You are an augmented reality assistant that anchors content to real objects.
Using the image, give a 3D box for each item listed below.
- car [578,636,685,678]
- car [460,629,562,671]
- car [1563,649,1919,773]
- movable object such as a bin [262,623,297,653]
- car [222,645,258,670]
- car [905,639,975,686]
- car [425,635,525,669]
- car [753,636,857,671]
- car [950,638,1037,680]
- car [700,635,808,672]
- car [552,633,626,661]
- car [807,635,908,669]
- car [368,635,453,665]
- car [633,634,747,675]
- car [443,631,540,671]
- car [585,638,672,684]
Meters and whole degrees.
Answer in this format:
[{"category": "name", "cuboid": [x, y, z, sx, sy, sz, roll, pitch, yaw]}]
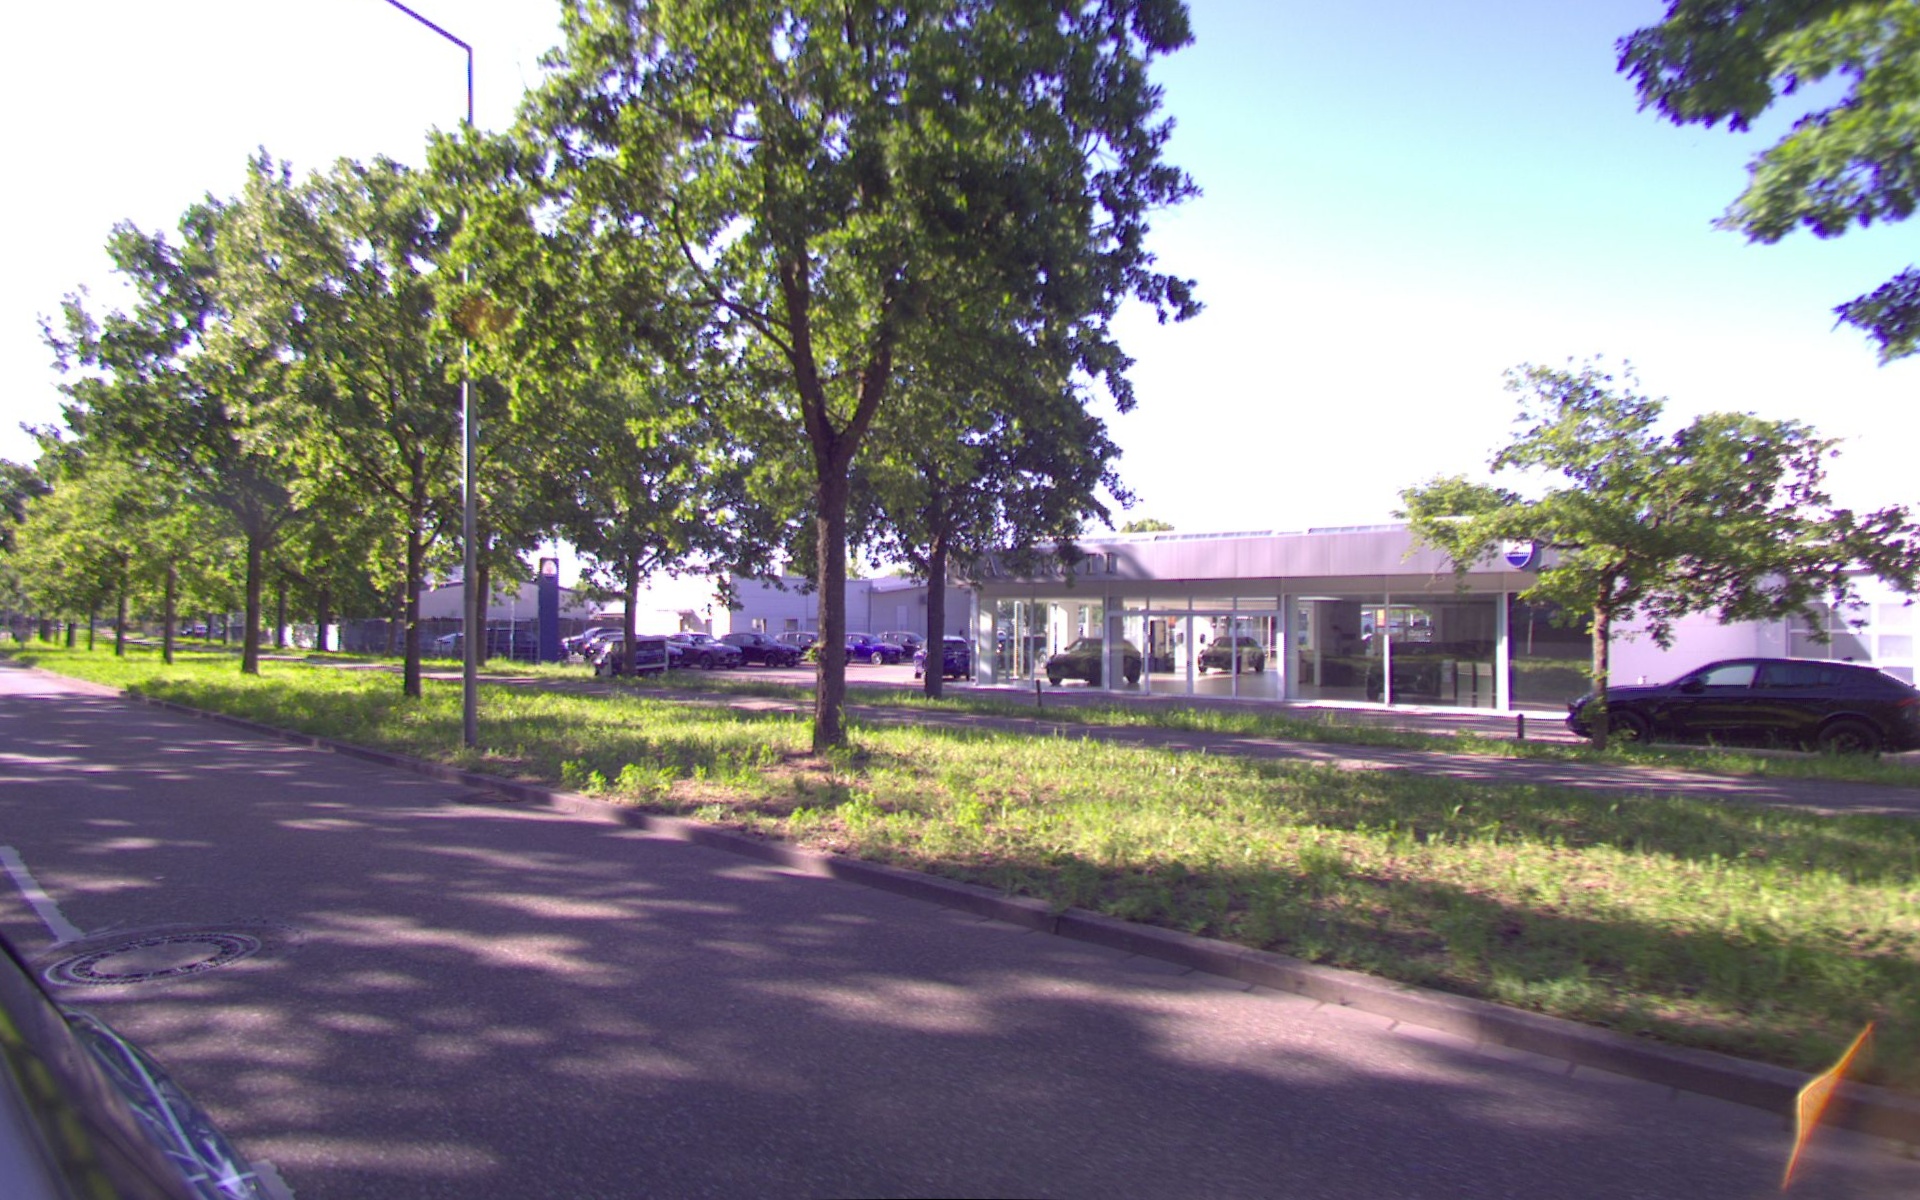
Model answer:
[{"category": "car", "cuboid": [-14.563, 2.494, 44.836, 4.477, 1.688, 1.982, -1, 0, 27]}, {"category": "car", "cuboid": [-21.045, 2.312, 47.525, 3.941, 1.755, 2.002, -1, -1, -44]}, {"category": "car", "cuboid": [12.875, 1.687, 16.440, 5.012, 1.610, 1.973, -1, -1, 41]}, {"category": "movable object such as a bin", "cuboid": [-61.029, 3.383, 90.713, 1.970, 2.535, 4.240, 0, -1, -43]}, {"category": "car", "cuboid": [-68.068, 5.415, 95.658, 1.970, 2.191, 5.675, 2, -3, -44]}, {"category": "car", "cuboid": [-0.849, 2.369, 39.287, 1.968, 1.673, 5.269, -1, -2, -9]}, {"category": "car", "cuboid": [-24.763, 2.622, 51.762, 1.863, 1.530, 4.261, -1, -1, 45]}, {"category": "car", "cuboid": [-7.980, 2.703, 51.936, 5.239, 1.673, 1.979, -1, 0, 31]}, {"category": "car", "cuboid": [1.350, 2.489, 43.349, 1.965, 1.673, 5.025, 0, -2, -20]}, {"category": "car", "cuboid": [-10.107, 2.572, 49.493, 5.239, 1.702, 1.979, -1, 0, 31]}, {"category": "car", "cuboid": [-23.123, 2.913, 63.123, 1.752, 1.530, 3.941, -1, -1, 45]}, {"category": "car", "cuboid": [-5.511, 2.742, 54.148, 5.239, 1.673, 1.979, -1, 0, 31]}, {"category": "car", "cuboid": [-32.319, 2.900, 59.534, 2.200, 1.530, 3.941, -1, -1, 45]}, {"category": "car", "cuboid": [-12.581, 2.492, 47.073, 5.236, 1.730, 1.981, -1, 0, 29]}, {"category": "car", "cuboid": [-22.967, 2.448, 49.711, 1.863, 1.759, 3.941, -1, -1, 45]}, {"category": "car", "cuboid": [-11.256, 2.033, 34.380, 2.531, 1.481, 1.430, 1, -2, -31]}]
